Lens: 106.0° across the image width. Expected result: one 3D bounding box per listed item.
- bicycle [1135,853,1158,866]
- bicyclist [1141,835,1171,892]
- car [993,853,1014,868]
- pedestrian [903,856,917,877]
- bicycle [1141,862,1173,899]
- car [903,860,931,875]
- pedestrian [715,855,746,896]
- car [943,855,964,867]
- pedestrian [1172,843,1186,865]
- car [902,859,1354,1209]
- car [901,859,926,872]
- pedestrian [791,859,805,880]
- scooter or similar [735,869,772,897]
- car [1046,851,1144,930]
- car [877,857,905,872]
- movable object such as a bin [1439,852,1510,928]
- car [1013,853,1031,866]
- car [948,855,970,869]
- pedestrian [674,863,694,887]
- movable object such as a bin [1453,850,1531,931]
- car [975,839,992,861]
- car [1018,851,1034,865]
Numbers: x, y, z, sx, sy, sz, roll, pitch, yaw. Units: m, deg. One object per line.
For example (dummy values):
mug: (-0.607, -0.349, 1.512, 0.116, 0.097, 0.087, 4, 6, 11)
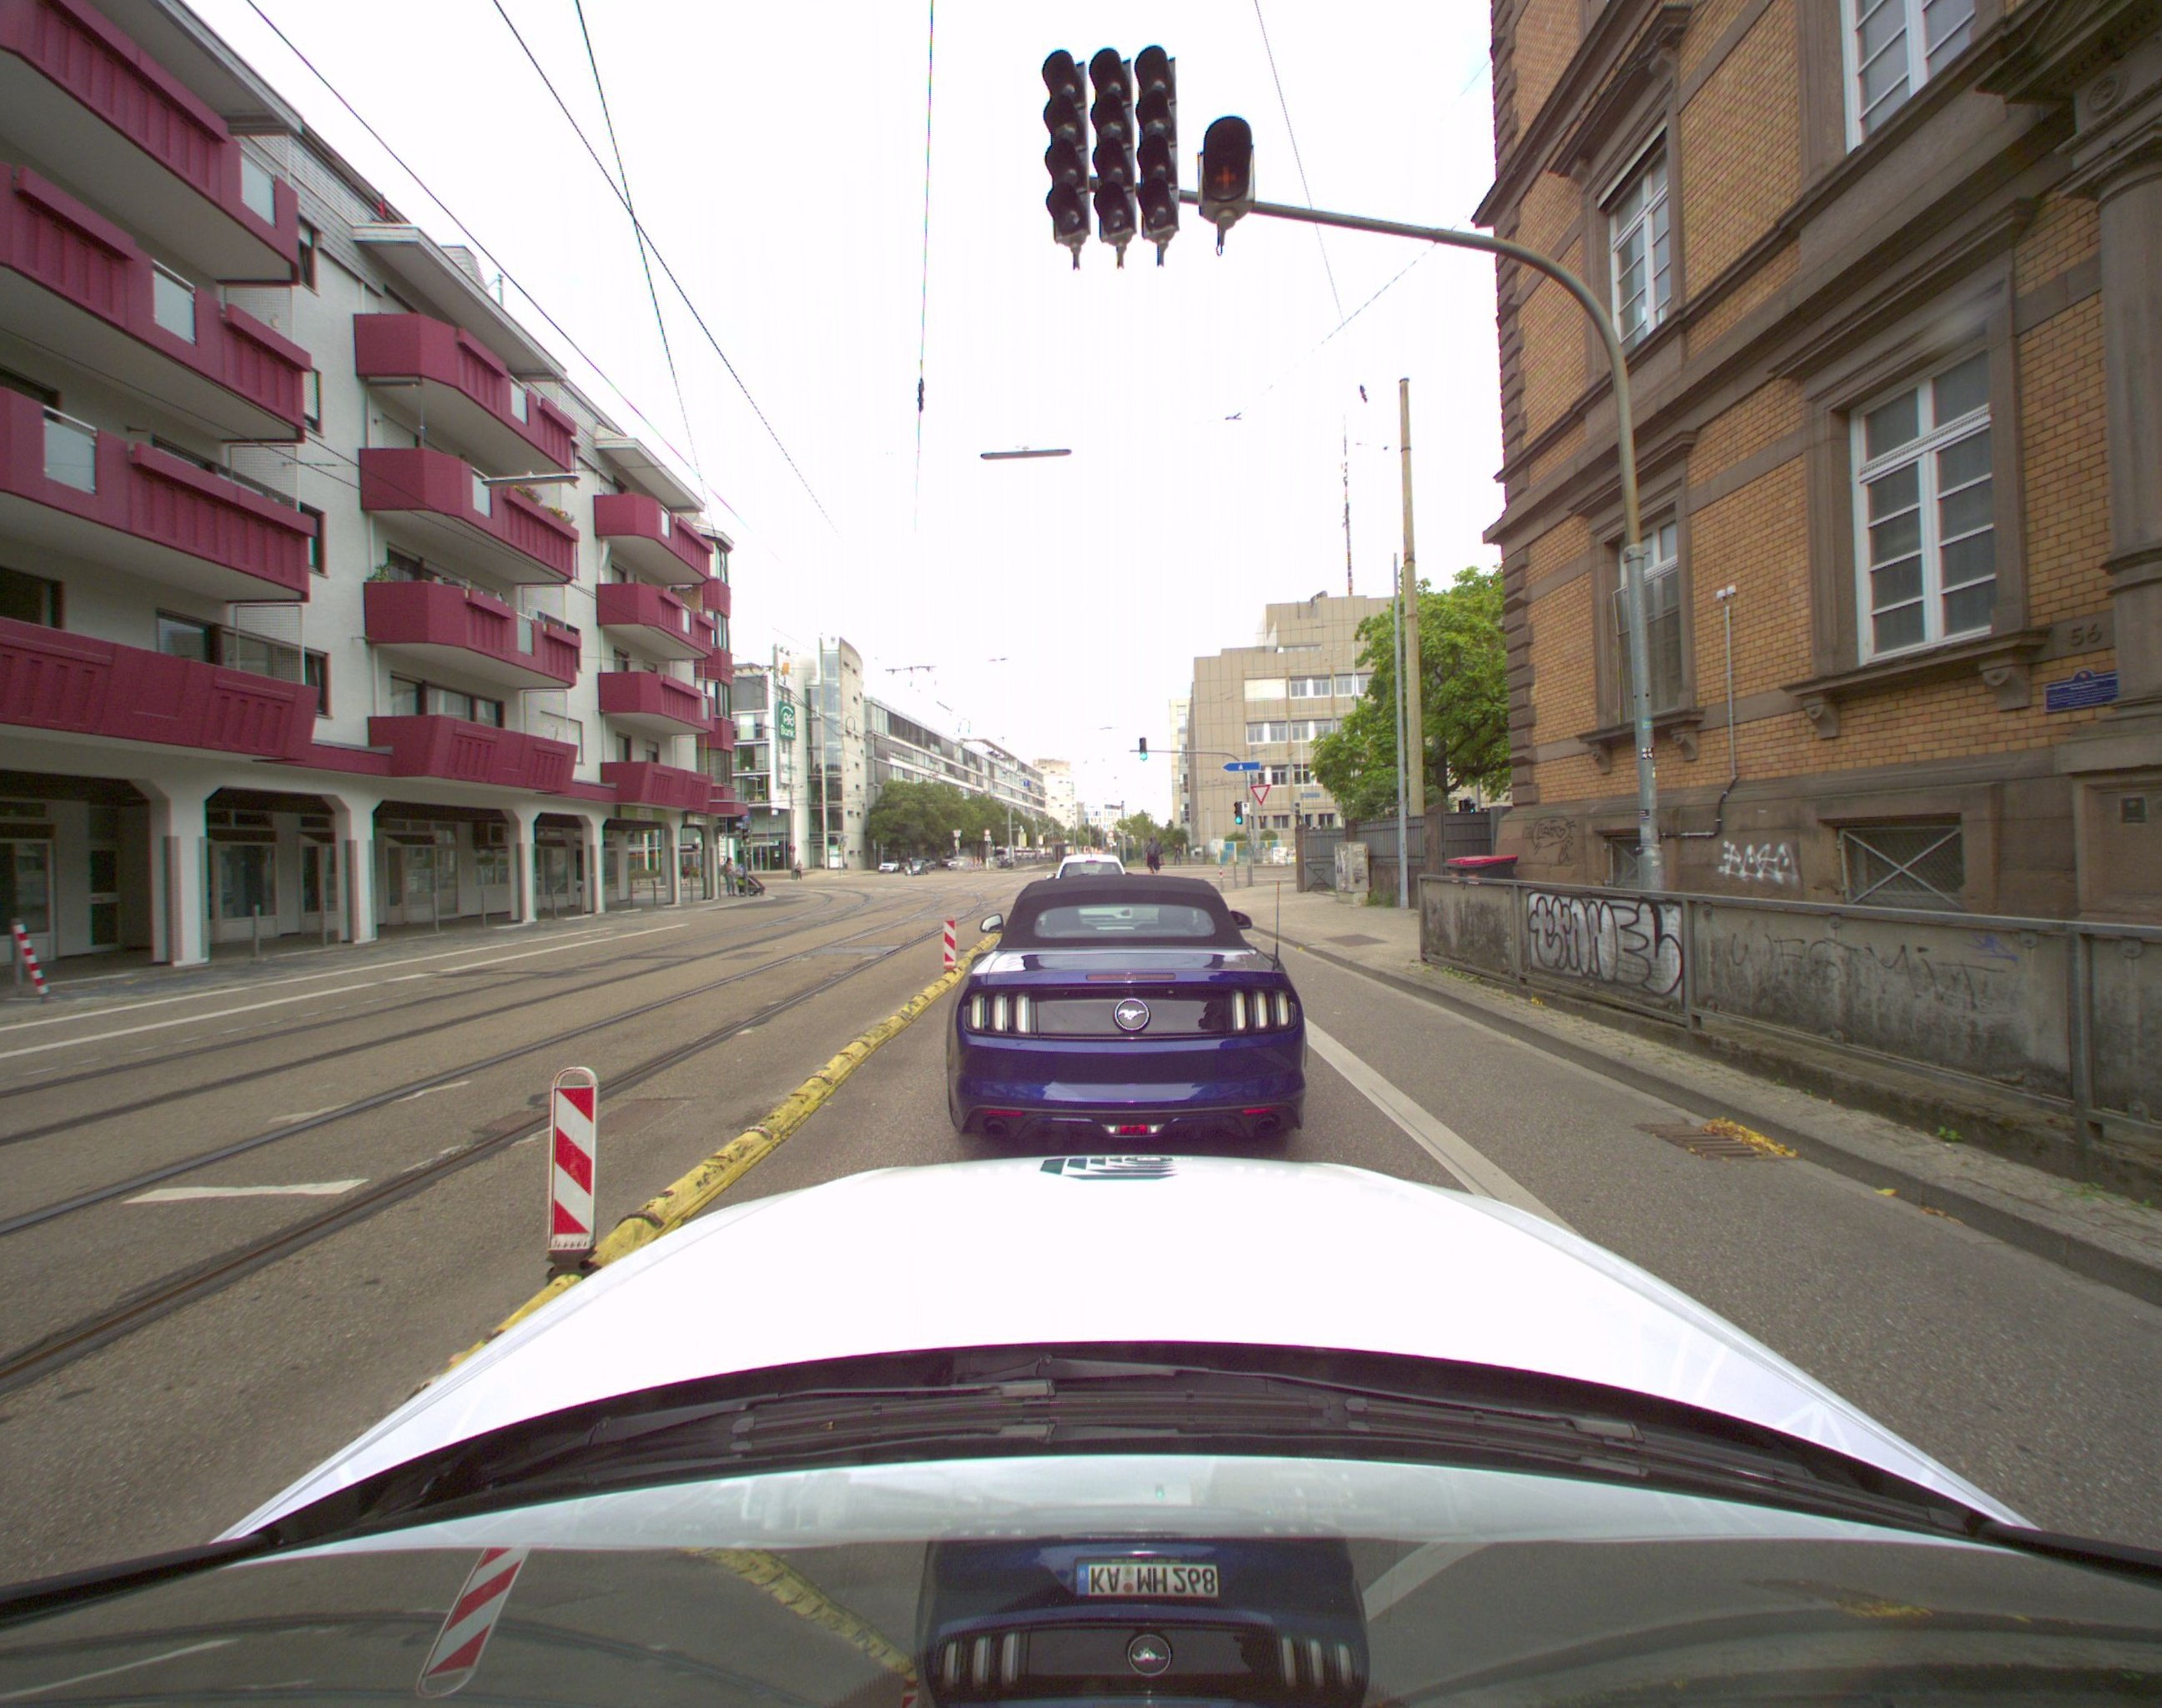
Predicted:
bicycle: (5.861, 0.486, 73.061, 0.637, 0.981, 2.133, -2, -2, -40)
bicyclist: (2.407, 0.305, 26.283, 0.793, 1.785, 1.233, -2, 0, 0)
car: (-9.283, 0.773, 97.658, 1.872, 1.628, 4.089, -2, 0, 2)
pedestrian: (-16.241, 1.182, 77.201, 0.983, 1.855, 0.904, -2, 0, 8)
bicycle: (2.439, 0.838, 26.355, 0.798, 1.086, 2.131, -2, 0, 0)
car: (-16.803, 1.359, 83.530, 1.659, 1.506, 4.242, 0, 0, 6)
pedestrian: (-15.318, 0.941, 35.624, 0.945, 1.743, 0.811, -2, 0, -2)
car: (-18.303, 0.976, 116.984, 1.978, 1.556, 4.516, 0, 0, 3)
pedestrian: (8.513, -0.008, 70.426, 1.079, 1.898, 0.904, -2, 0, 10)
car: (0.272, 0.765, 5.529, 1.869, 1.404, 4.284, 0, 0, 2)
car: (-20.263, 1.371, 98.820, 1.820, 1.556, 4.223, 0, 0, 6)
pedestrian: (-25.348, 1.362, 72.911, 0.828, 1.865, 0.769, -2, 0, 14)
scooter or similar: (-14.340, 1.264, 35.678, 1.192, 1.128, 0.946, -1, 0, -1)
car: (0.184, 0.689, 17.696, 1.831, 1.439, 4.183, -2, 0, -2)
car: (-21.346, 1.190, 91.578, 1.820, 1.556, 4.223, 0, 0, 6)
movable object such as a bin: (6.043, 0.543, 12.542, 0.649, 1.082, 0.677, -5, -1, -4)
car: (-8.015, 0.707, 111.173, 1.861, 1.605, 4.214, -2, 0, 2)
car: (-14.993, 1.012, 100.510, 1.706, 1.660, 4.140, 0, 0, 6)
pedestrian: (-28.554, 1.531, 58.567, 0.928, 1.671, 0.769, -2, 0, 14)
movable object such as a bin: (5.959, 0.521, 11.827, 0.662, 1.082, 0.700, -5, -1, -3)
car: (-16.217, -0.616, 135.971, 1.978, 3.636, 4.516, 0, 0, 3)
car: (-7.834, 0.559, 116.340, 1.778, 1.987, 4.123, -2, 0, 2)
